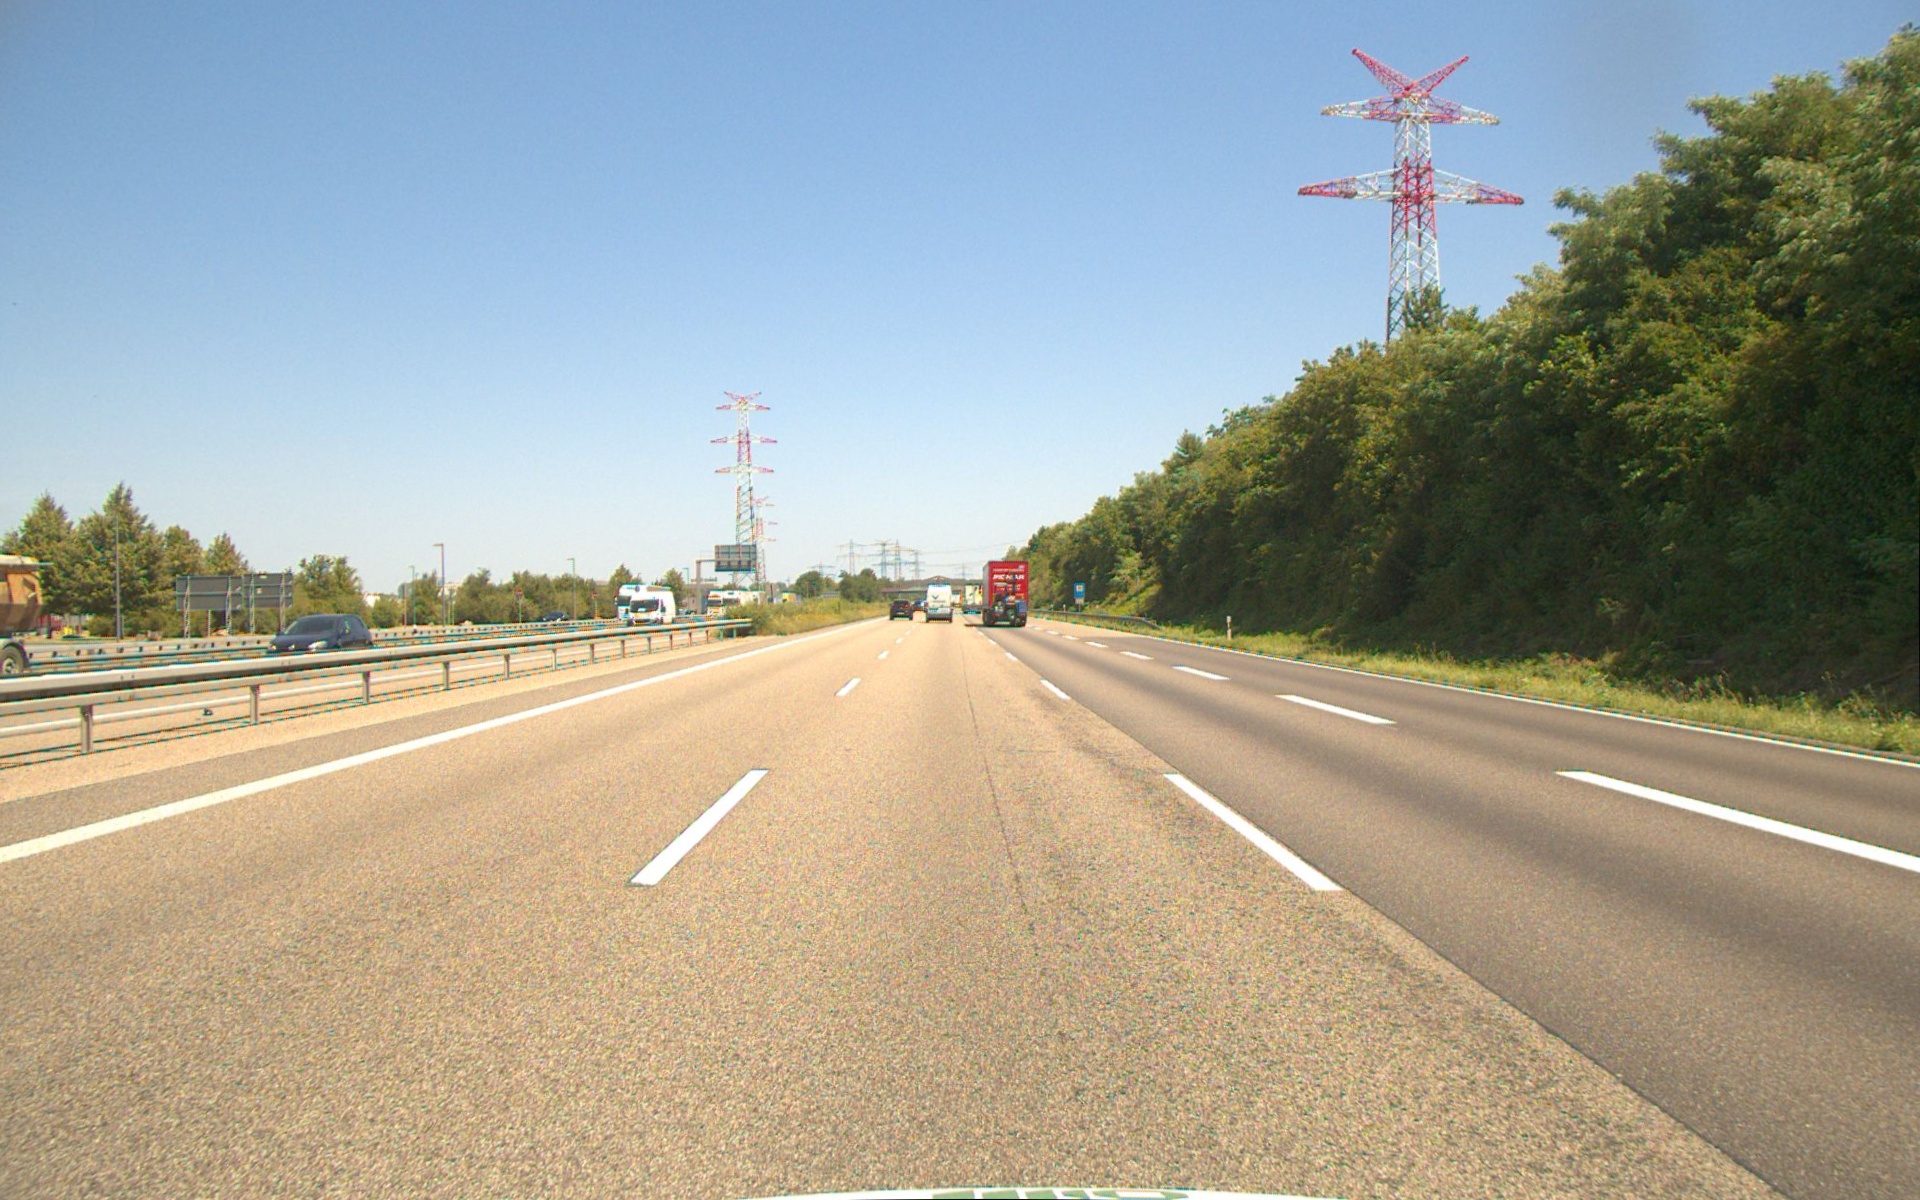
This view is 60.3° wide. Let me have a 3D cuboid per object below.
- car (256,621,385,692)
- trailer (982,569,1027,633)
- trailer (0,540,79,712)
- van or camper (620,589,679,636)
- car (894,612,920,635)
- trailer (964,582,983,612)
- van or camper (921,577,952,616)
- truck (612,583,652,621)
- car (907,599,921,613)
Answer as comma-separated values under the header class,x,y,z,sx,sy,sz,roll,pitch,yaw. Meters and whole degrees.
class,x,y,z,sx,sy,sz,roll,pitch,yaw
car,-16.971,1.459,44.124,1.710,1.744,4.484,1,0,-1
trailer,2.844,0.087,109.108,2.439,3.978,14.243,0,0,-1
trailer,-21.217,0.507,32.596,2.725,3.577,9.368,1,0,-1
van or camper,-18.773,0.744,100.365,2.369,2.627,6.365,-2,0,-1
car,-4.466,2.008,140.969,1.941,1.849,3.813,1,0,2
trailer,1.950,-0.425,234.415,2.583,4.131,12.366,1,0,1
van or camper,-1.760,-0.267,125.096,2.184,2.831,5.422,1,0,0
truck,-33.203,0.209,167.559,2.742,3.707,6.146,1,0,-1
car,-6.890,0.928,249.167,1.931,2.047,4.196,1,0,-1
